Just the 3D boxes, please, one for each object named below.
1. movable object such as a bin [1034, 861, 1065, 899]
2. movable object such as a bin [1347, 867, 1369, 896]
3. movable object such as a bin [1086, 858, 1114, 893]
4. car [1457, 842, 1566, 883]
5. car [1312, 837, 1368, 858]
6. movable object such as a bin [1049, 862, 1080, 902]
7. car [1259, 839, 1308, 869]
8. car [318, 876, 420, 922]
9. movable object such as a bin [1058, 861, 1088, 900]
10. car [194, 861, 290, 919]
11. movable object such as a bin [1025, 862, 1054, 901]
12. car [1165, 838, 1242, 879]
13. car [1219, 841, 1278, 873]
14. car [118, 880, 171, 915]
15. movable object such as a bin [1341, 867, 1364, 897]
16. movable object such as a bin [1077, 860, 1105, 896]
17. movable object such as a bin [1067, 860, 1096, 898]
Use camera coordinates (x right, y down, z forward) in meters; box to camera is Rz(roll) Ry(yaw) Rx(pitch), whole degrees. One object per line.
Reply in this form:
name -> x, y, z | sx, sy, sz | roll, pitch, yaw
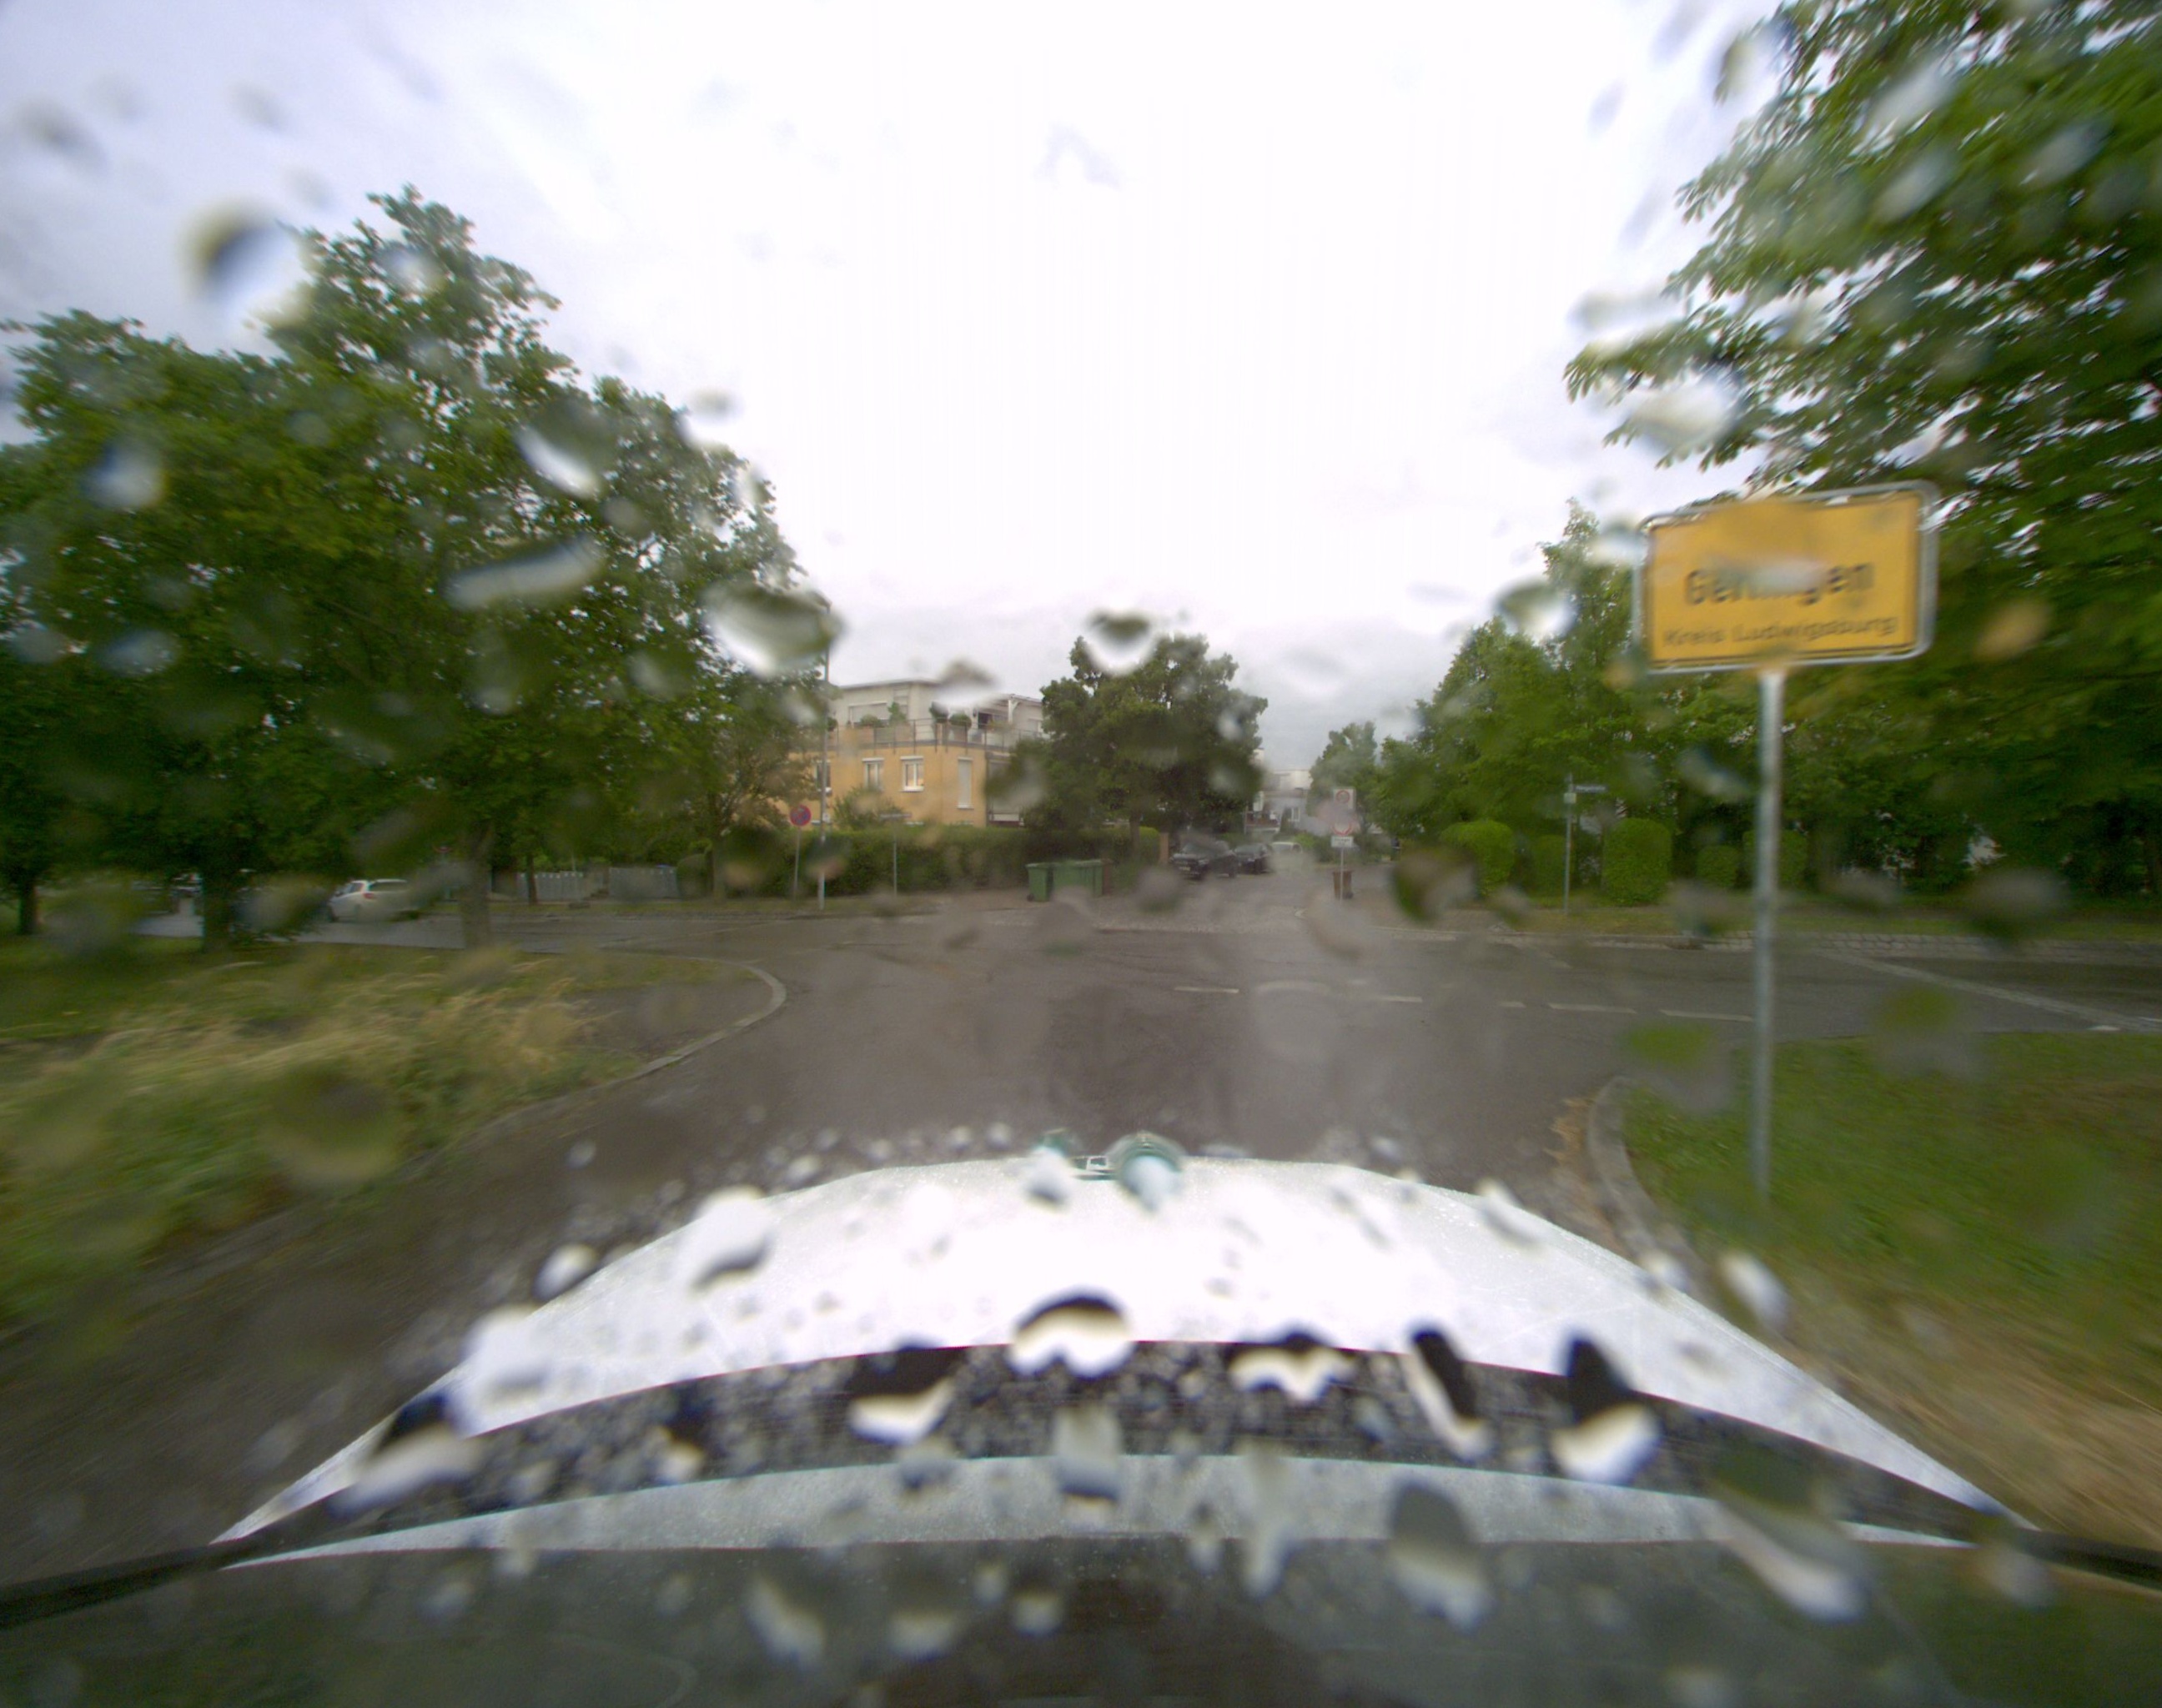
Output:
movable object such as a bin -> -0.915, 0.749, 23.828 | 0.688, 1.072, 0.601 | 0, 2, 22
movable object such as a bin -> 9.137, 0.906, 26.871 | 0.565, 0.931, 0.533 | 1, 1, 35
movable object such as a bin -> 0.588, 0.675, 25.427 | 0.688, 1.055, 0.609 | 0, 2, 22
car -> 18.680, 0.358, 35.400 | 3.948, 1.663, 1.791 | 0, 1, 37
car -> 20.307, -0.517, 63.843 | 3.951, 1.568, 1.920 | 2, 1, 26
movable object such as a bin -> -0.463, 0.787, 23.008 | 0.688, 1.074, 0.605 | 0, 2, 22
car -> 10.900, -0.010, 43.709 | 1.496, 1.476, 3.294 | 3, 3, 32
car -> -25.547, 1.599, 29.204 | 3.678, 1.502, 1.621 | -2, 0, 30
movable object such as a bin -> -0.227, 0.764, 23.578 | 0.688, 1.074, 0.546 | 0, 2, 22
car -> -38.478, 1.633, 37.313 | 5.438, 2.467, 2.138 | -2, -1, 34
movable object such as a bin -> -1.189, 0.788, 23.269 | 0.659, 1.073, 0.547 | 0, 2, 22
car -> 5.192, 0.146, 34.176 | 1.759, 1.518, 4.163 | 3, 3, 29
car -> 8.141, 0.099, 39.426 | 1.620, 1.409, 3.627 | 3, 3, 31
car -> -47.845, 2.174, 41.645 | 3.650, 1.552, 1.702 | 1, 1, 42
movable object such as a bin -> 8.800, 0.912, 26.413 | 0.565, 0.931, 0.533 | 1, 1, 35
movable object such as a bin -> 0.307, 0.709, 24.684 | 0.688, 1.055, 0.609 | 0, 2, 22
movable object such as a bin -> 0.024, 0.734, 24.125 | 0.688, 1.067, 0.582 | 0, 2, 22
